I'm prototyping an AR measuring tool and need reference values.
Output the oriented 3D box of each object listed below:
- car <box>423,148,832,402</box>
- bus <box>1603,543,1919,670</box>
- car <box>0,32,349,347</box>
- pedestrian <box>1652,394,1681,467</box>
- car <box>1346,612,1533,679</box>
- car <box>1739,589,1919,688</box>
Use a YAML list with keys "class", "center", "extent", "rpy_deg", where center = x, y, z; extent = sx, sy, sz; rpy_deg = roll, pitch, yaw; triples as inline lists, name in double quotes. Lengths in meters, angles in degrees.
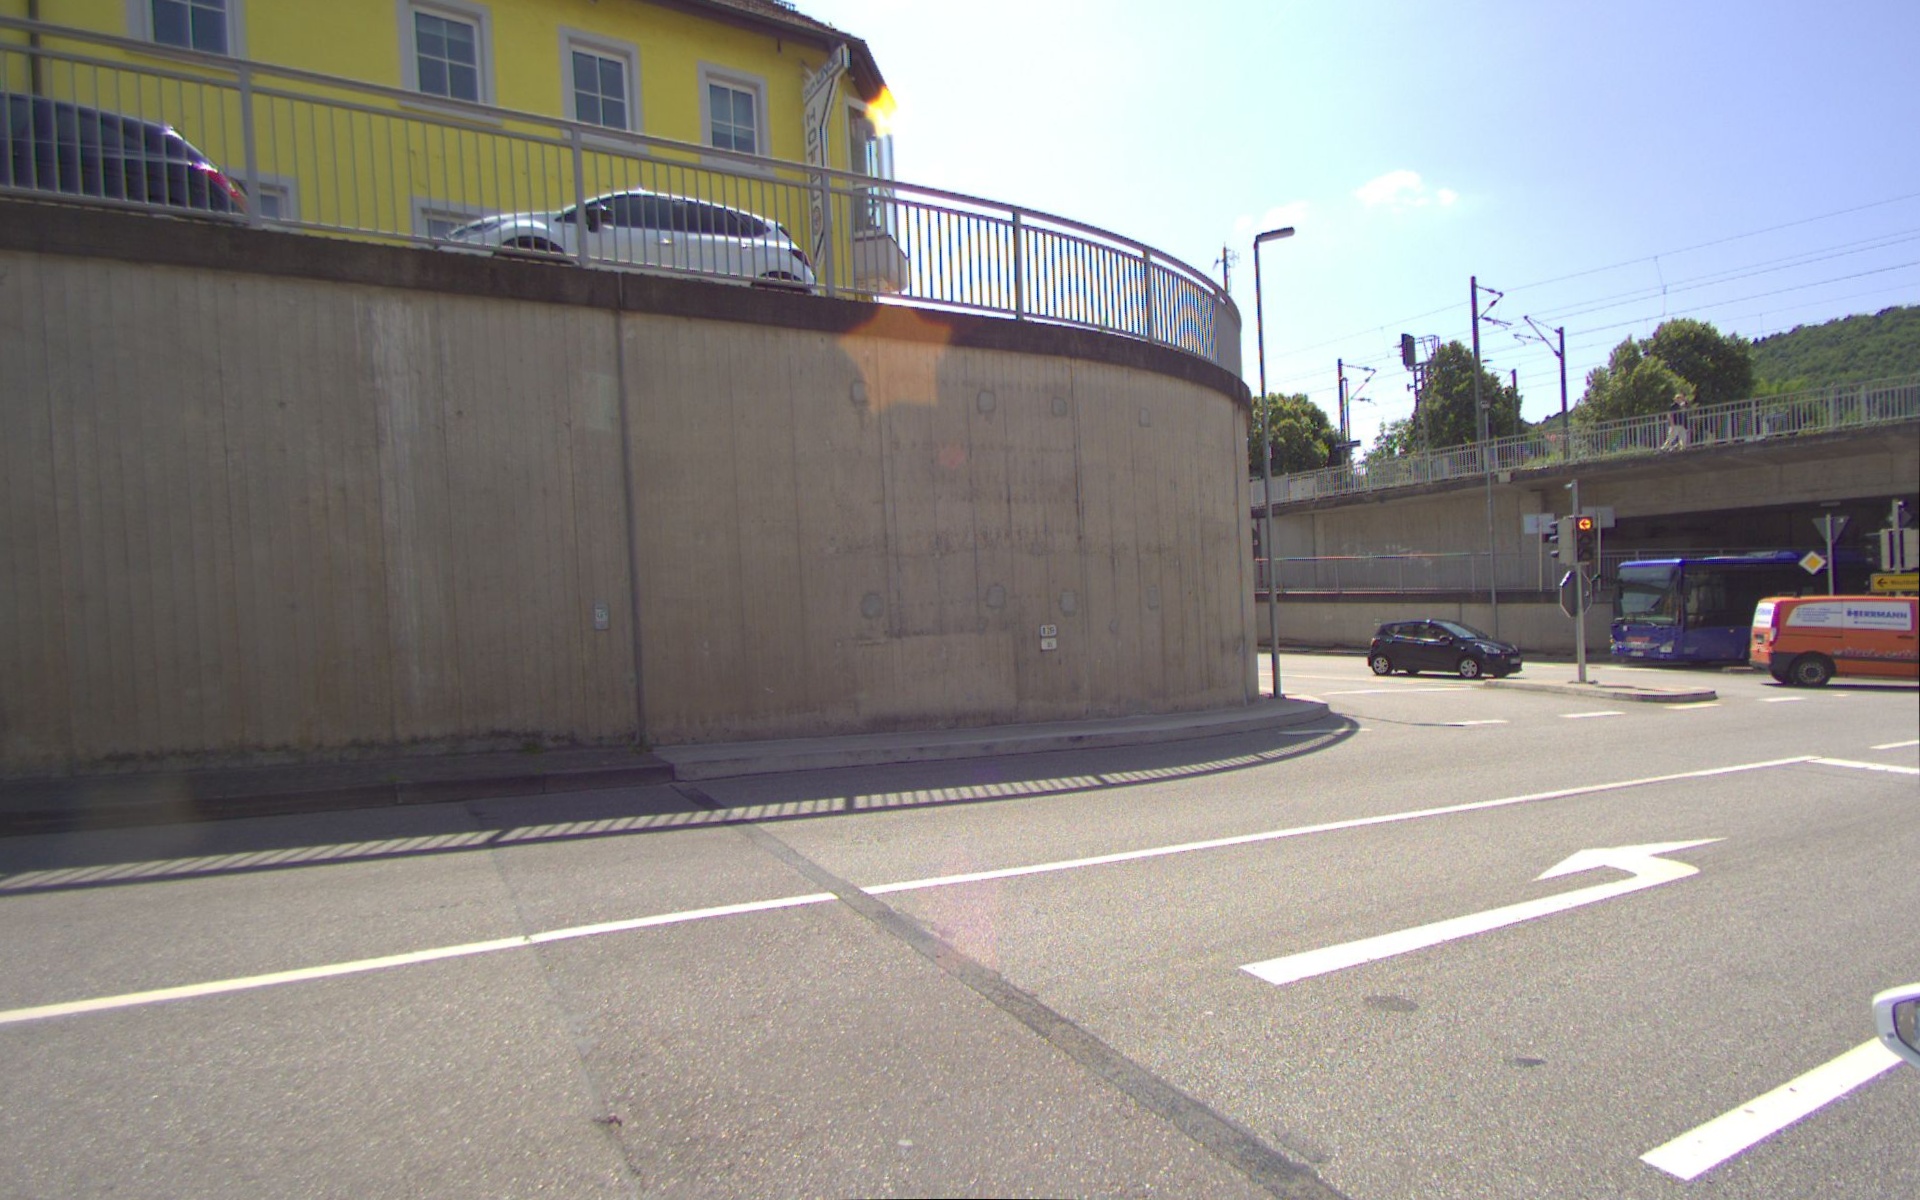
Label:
- class: "car"
  center: [-3.629, -3.366, 11.122]
  extent: [3.955, 1.690, 1.892]
  rpy_deg: [-2, 1, -32]
- class: "bus"
  center: [25.046, 0.071, 28.765]
  extent: [12.142, 3.215, 2.587]
  rpy_deg: [-2, 1, -5]
- class: "car"
  center: [-7.587, -3.412, 8.408]
  extent: [4.175, 1.728, 1.812]
  rpy_deg: [-2, 1, -32]
- class: "pedestrian"
  center: [21.692, -5.199, 30.846]
  extent: [0.531, 2.108, 0.571]
  rpy_deg: [0, -1, -40]
- class: "car"
  center: [12.323, 1.102, 26.030]
  extent: [1.977, 1.528, 3.967]
  rpy_deg: [-1, 0, -31]
- class: "car"
  center: [19.508, 0.776, 21.131]
  extent: [4.633, 1.958, 1.876]
  rpy_deg: [-1, 1, 28]
